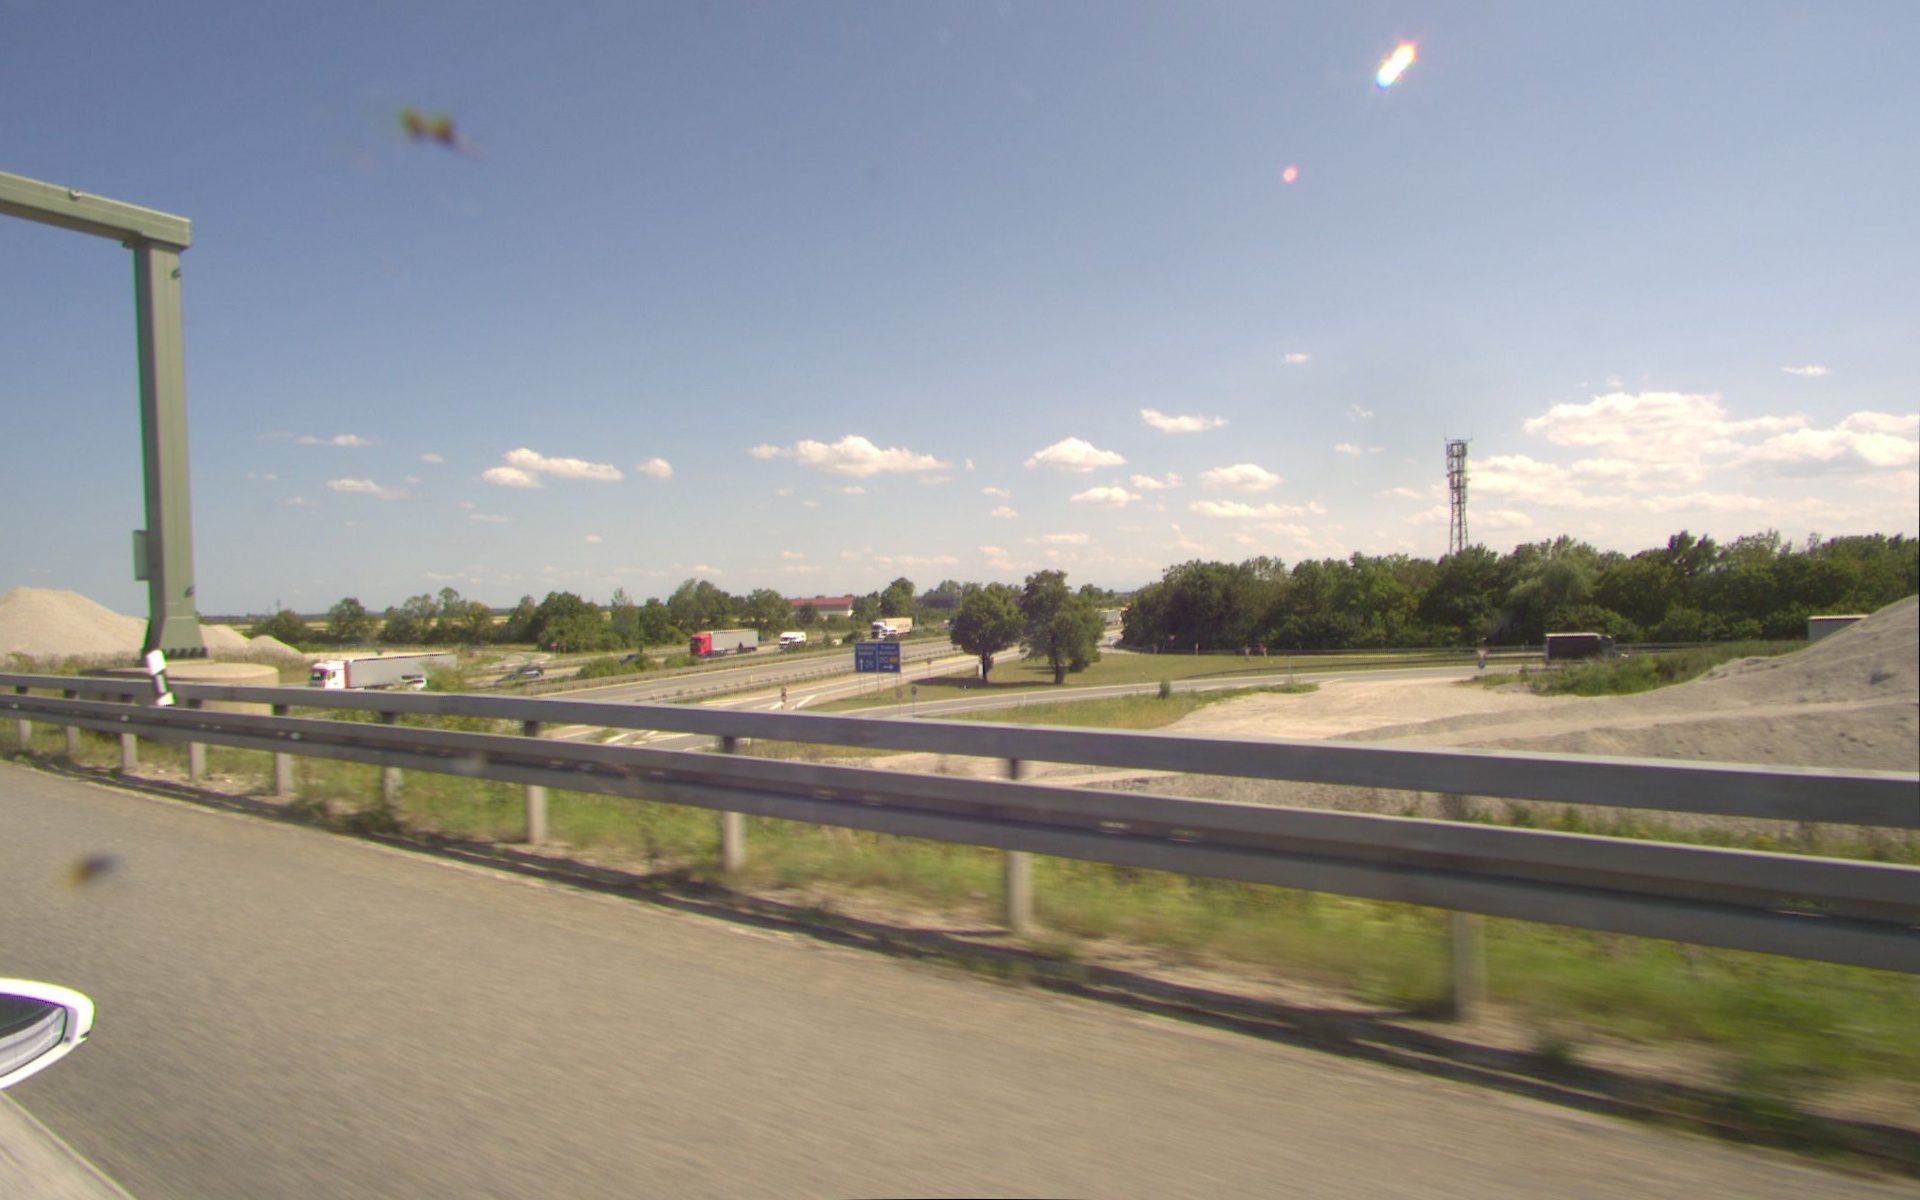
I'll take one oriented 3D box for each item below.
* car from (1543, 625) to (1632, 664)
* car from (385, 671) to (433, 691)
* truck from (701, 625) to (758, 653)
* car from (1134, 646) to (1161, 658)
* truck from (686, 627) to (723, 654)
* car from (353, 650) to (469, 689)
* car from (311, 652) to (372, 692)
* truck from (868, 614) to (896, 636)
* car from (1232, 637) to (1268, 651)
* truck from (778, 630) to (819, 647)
[{"bbox_3d":[60.626,4.359,96.880,6.960,3.673,1.997,-1,-4,23],"label":"car"},{"bbox_3d":[-61.007,8.944,110.990,1.967,2.039,4.398,-1,-2,24],"label":"car"},{"bbox_3d":[-39.873,6.698,173.940,2.822,4.119,12.538,-1,1,23],"label":"truck"},{"bbox_3d":[28.817,7.992,153.860,1.971,1.793,3.986,2,-5,-27],"label":"car"},{"bbox_3d":[-42.662,6.752,167.222,2.822,4.119,5.939,-1,1,23],"label":"truck"},{"bbox_3d":[-62.745,7.879,115.027,2.442,4.014,12.979,-1,-2,24],"label":"car"},{"bbox_3d":[-66.179,7.653,107.203,2.442,4.014,5.146,-1,-2,24],"label":"car"},{"bbox_3d":[-17.741,5.558,227.801,3.097,4.837,8.225,-1,-1,21],"label":"truck"},{"bbox_3d":[39.485,6.042,136.568,1.741,1.827,4.636,3,-5,-37],"label":"car"},{"bbox_3d":[-31.151,7.448,193.900,3.098,3.099,10.022,-1,-1,23],"label":"truck"}]
